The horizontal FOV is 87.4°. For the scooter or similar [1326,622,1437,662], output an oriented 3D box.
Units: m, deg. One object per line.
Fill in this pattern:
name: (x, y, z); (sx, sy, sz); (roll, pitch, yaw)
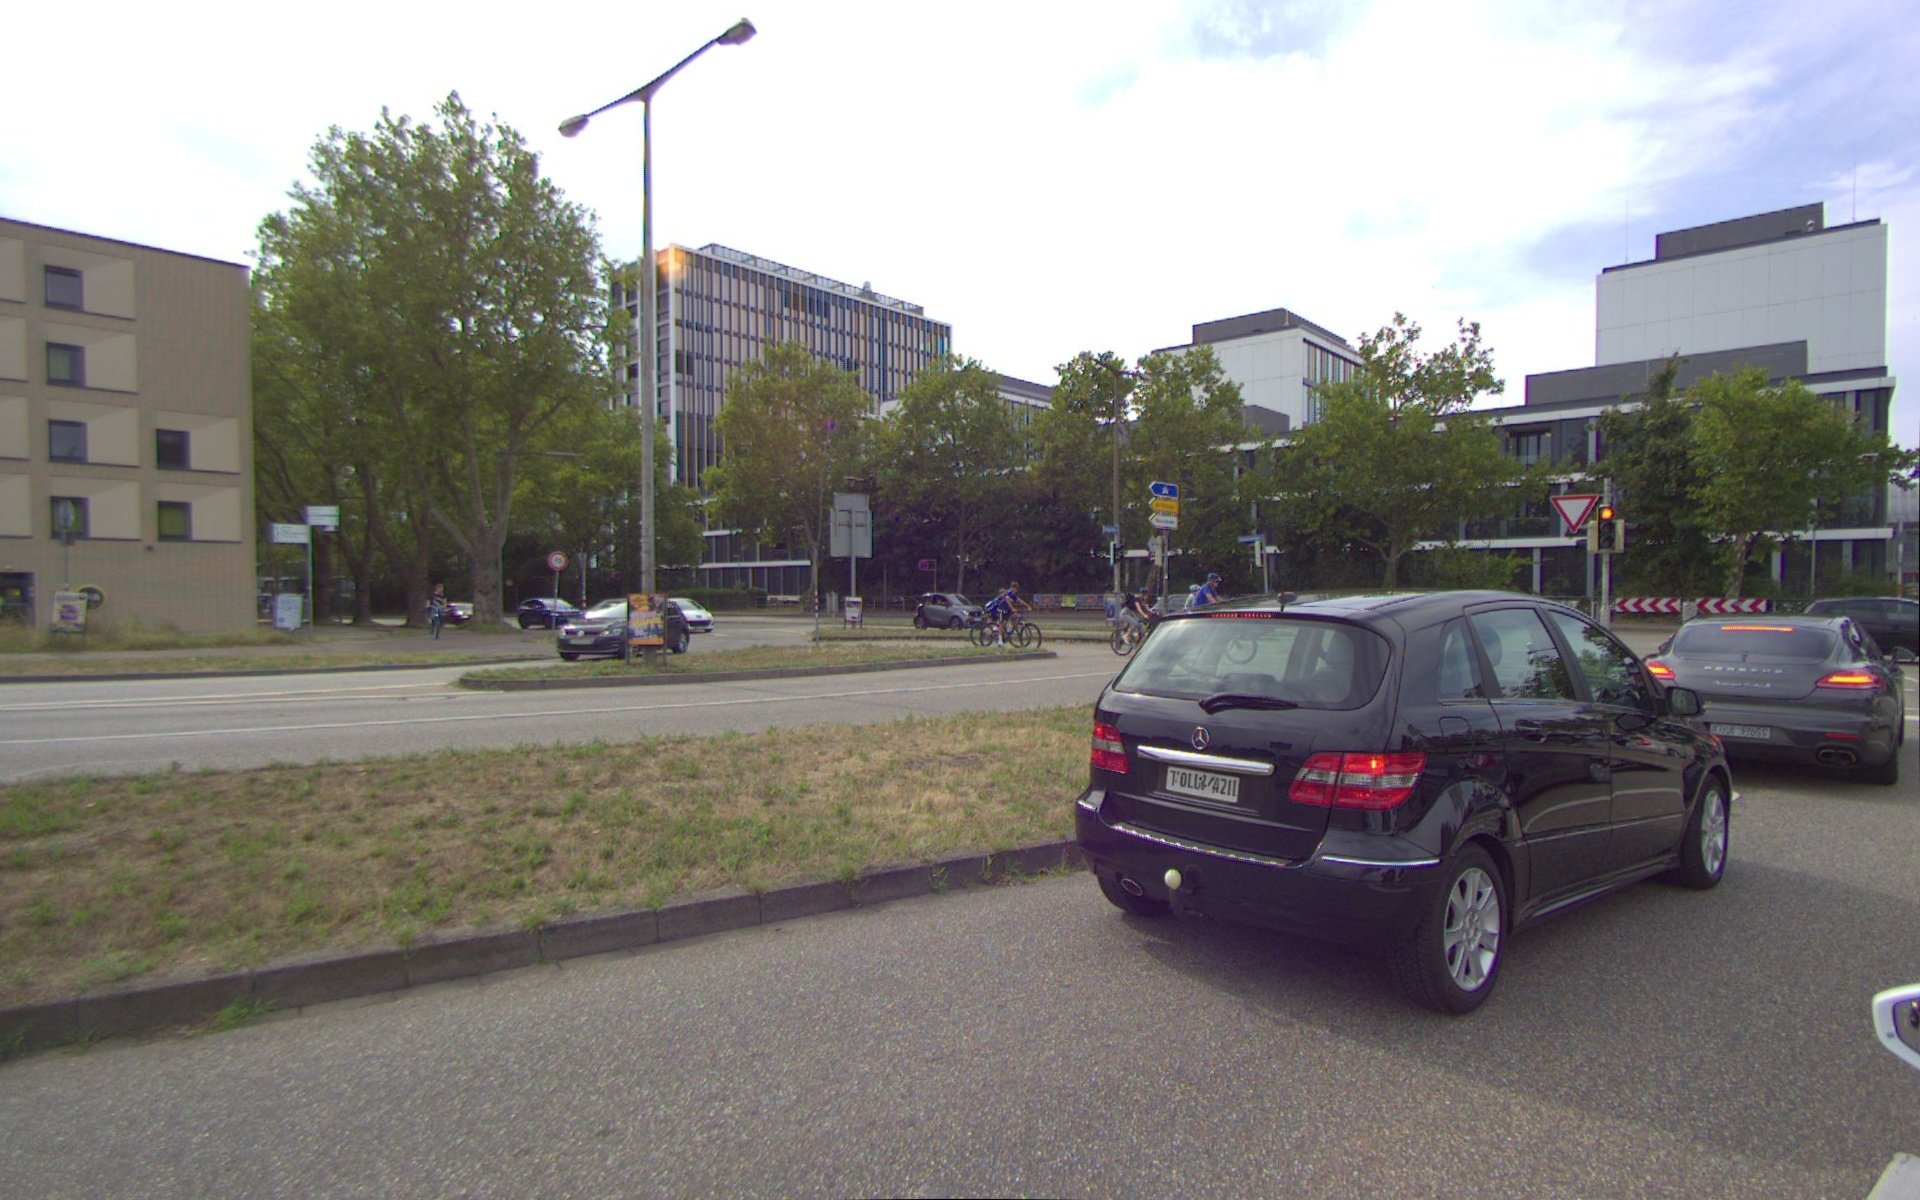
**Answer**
scooter or similar: (9.928, 0.971, 23.676); (2.342, 0.861, 0.807); (0, 1, 28)

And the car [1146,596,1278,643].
car: (8.451, 0.622, 33.909); (4.011, 1.470, 1.694); (1, 0, 42)

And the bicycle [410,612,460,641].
bicycle: (-17.580, 0.865, 33.670); (0.727, 0.921, 2.118); (0, 0, -5)

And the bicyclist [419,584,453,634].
bicyclist: (-17.582, 0.307, 33.710); (0.727, 1.636, 0.920); (0, 0, -5)

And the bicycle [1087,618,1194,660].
bicycle: (4.285, 0.907, 24.023); (2.556, 0.902, 0.700); (0, 1, 44)

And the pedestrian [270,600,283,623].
pedestrian: (-34.223, 0.575, 50.289); (0.498, 1.140, 0.457); (0, 0, -42)

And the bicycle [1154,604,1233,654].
bicycle: (5.945, 0.724, 25.590); (1.871, 1.226, 0.642); (0, 1, 24)

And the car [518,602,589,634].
car: (-21.652, 0.949, 53.390); (1.937, 1.581, 4.404); (1, -1, -45)

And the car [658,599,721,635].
car: (-11.866, 0.719, 43.890); (1.711, 1.464, 3.844); (1, -1, -30)

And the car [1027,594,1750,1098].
car: (2.405, 0.786, 5.185); (4.000, 1.596, 1.743); (-1, 2, -38)

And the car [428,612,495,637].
car: (-30.014, 1.437, 60.415); (4.146, 1.399, 1.943); (1, -1, 36)

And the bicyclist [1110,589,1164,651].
bicyclist: (4.238, 0.462, 24.075); (1.102, 1.456, 0.644); (0, 1, 45)

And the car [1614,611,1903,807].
car: (8.140, 0.864, 10.048); (1.799, 1.433, 4.747); (1, 1, 44)

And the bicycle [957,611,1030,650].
bicycle: (0.906, 0.806, 27.018); (1.869, 1.027, 0.629); (0, 1, 15)

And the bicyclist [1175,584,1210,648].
bicyclist: (5.929, 0.385, 25.583); (0.767, 1.602, 0.654); (0, 1, 24)

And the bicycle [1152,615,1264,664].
bicycle: (5.287, 0.821, 21.513); (2.203, 0.965, 0.807); (0, 0, 42)

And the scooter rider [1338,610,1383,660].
scooter rider: (9.531, 0.816, 23.897); (0.900, 1.152, 0.807); (0, 1, 28)

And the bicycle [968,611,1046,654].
bicycle: (1.186, 0.809, 25.408); (1.869, 1.027, 0.628); (0, 1, 16)

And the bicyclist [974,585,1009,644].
bicyclist: (0.863, 0.375, 27.030); (0.824, 1.550, 0.629); (0, 1, 15)

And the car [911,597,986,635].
car: (-0.465, 0.615, 40.157); (2.678, 1.441, 1.492); (1, 0, 40)

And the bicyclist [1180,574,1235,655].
bicyclist: (5.295, 0.306, 21.502); (0.871, 1.678, 0.807); (0, 0, 42)

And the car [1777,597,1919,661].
car: (21.179, 0.646, 22.809); (4.006, 1.386, 1.696); (1, 0, 38)

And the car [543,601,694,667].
car: (-8.217, 0.773, 24.566); (1.762, 1.437, 4.002); (1, 0, 10)

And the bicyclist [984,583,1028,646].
bicyclist: (1.161, 0.353, 25.407); (0.999, 1.560, 0.628); (0, 1, 16)
